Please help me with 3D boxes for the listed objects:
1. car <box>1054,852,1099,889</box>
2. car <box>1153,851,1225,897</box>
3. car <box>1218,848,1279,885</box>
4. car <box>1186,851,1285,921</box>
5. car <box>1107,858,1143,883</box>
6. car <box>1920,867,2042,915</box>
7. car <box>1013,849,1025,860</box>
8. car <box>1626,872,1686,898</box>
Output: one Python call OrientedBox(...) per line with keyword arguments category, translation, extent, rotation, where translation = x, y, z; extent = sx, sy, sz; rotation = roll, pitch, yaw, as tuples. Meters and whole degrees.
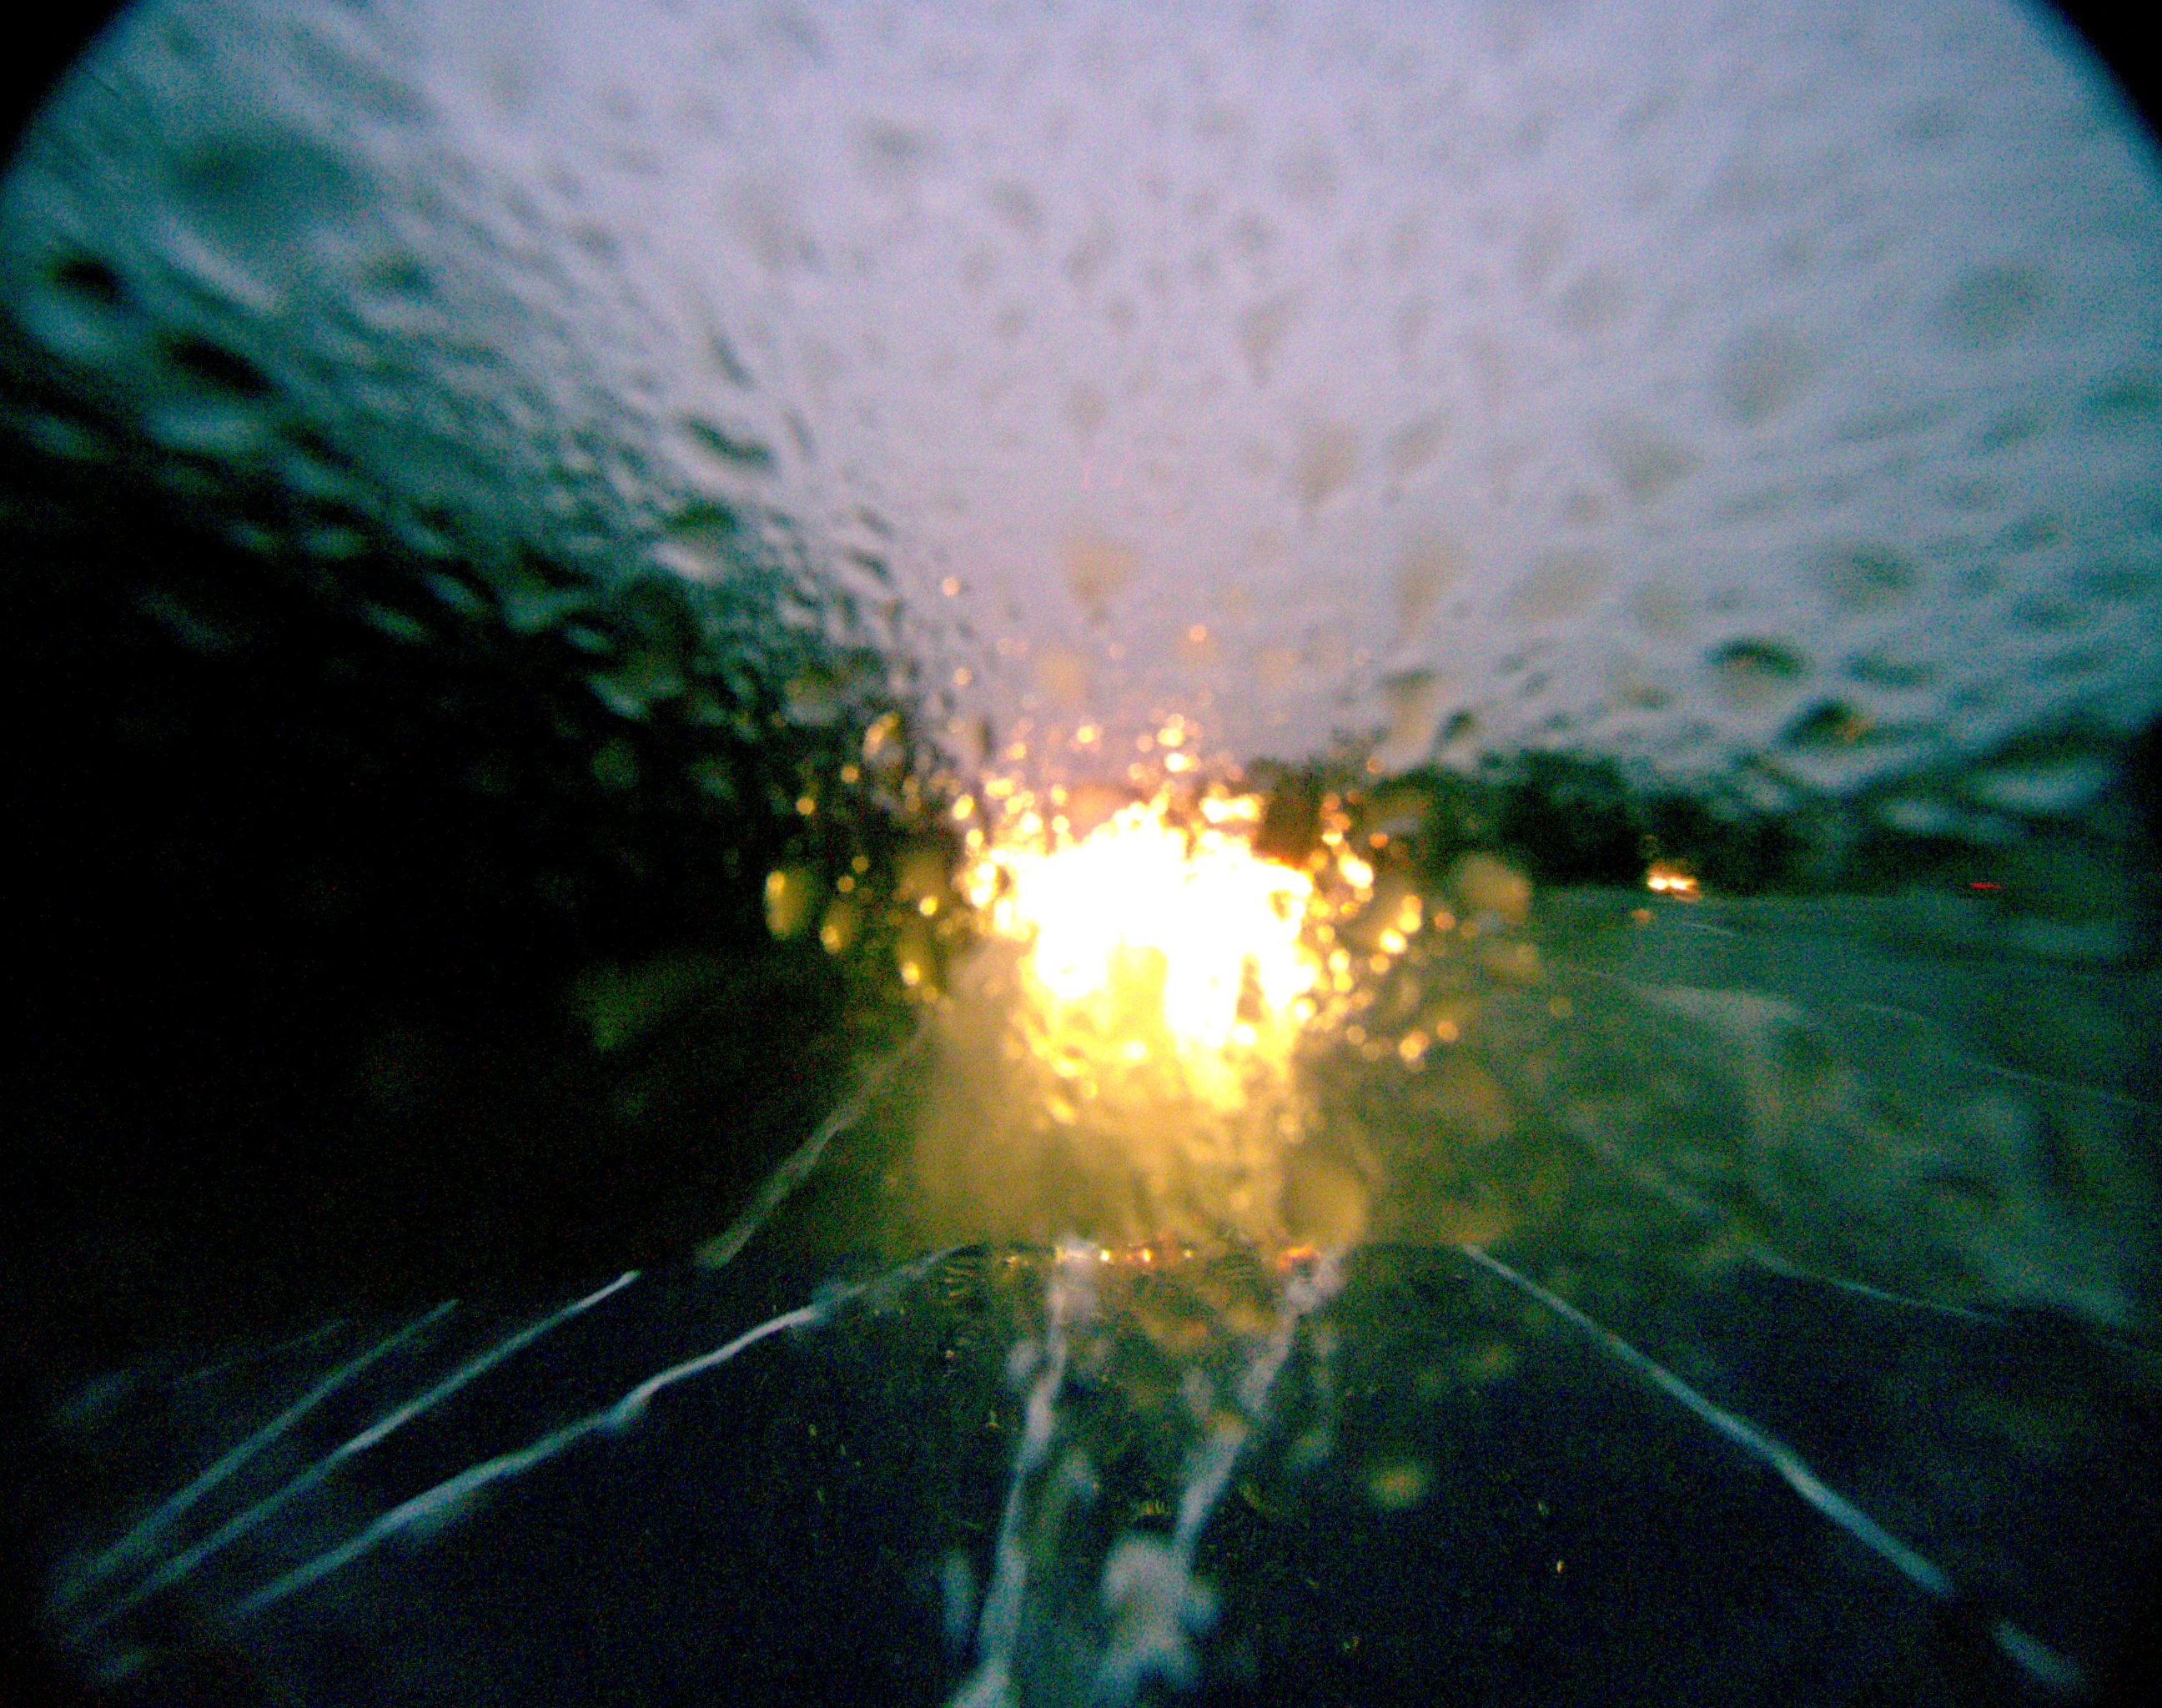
OrientedBox(category="car", translation=(-0.157, 0.677, 33.616), extent=(1.850, 1.429, 4.244), rotation=(-1, 1, 0))
OrientedBox(category="car", translation=(4.070, 0.719, 29.419), extent=(2.010, 1.547, 4.515), rotation=(-2, 1, -1))
OrientedBox(category="car", translation=(7.907, 0.539, 36.229), extent=(1.828, 1.607, 4.572), rotation=(-1, 0, -1))
OrientedBox(category="car", translation=(3.997, 0.751, 20.312), extent=(1.717, 1.617, 4.217), rotation=(-1, 0, -1))
OrientedBox(category="car", translation=(2.801, 1.027, 48.689), extent=(1.637, 1.413, 4.168), rotation=(-2, 1, -5))
OrientedBox(category="car", translation=(41.144, 1.654, 34.901), extent=(1.952, 1.746, 4.818), rotation=(-3, 1, 28))
OrientedBox(category="car", translation=(-10.772, 0.105, 131.774), extent=(1.703, 1.721, 3.995), rotation=(-2, 2, -10))
OrientedBox(category="car", translation=(47.341, 2.530, 62.678), extent=(1.954, 1.746, 4.814), rotation=(-3, 1, 11))
